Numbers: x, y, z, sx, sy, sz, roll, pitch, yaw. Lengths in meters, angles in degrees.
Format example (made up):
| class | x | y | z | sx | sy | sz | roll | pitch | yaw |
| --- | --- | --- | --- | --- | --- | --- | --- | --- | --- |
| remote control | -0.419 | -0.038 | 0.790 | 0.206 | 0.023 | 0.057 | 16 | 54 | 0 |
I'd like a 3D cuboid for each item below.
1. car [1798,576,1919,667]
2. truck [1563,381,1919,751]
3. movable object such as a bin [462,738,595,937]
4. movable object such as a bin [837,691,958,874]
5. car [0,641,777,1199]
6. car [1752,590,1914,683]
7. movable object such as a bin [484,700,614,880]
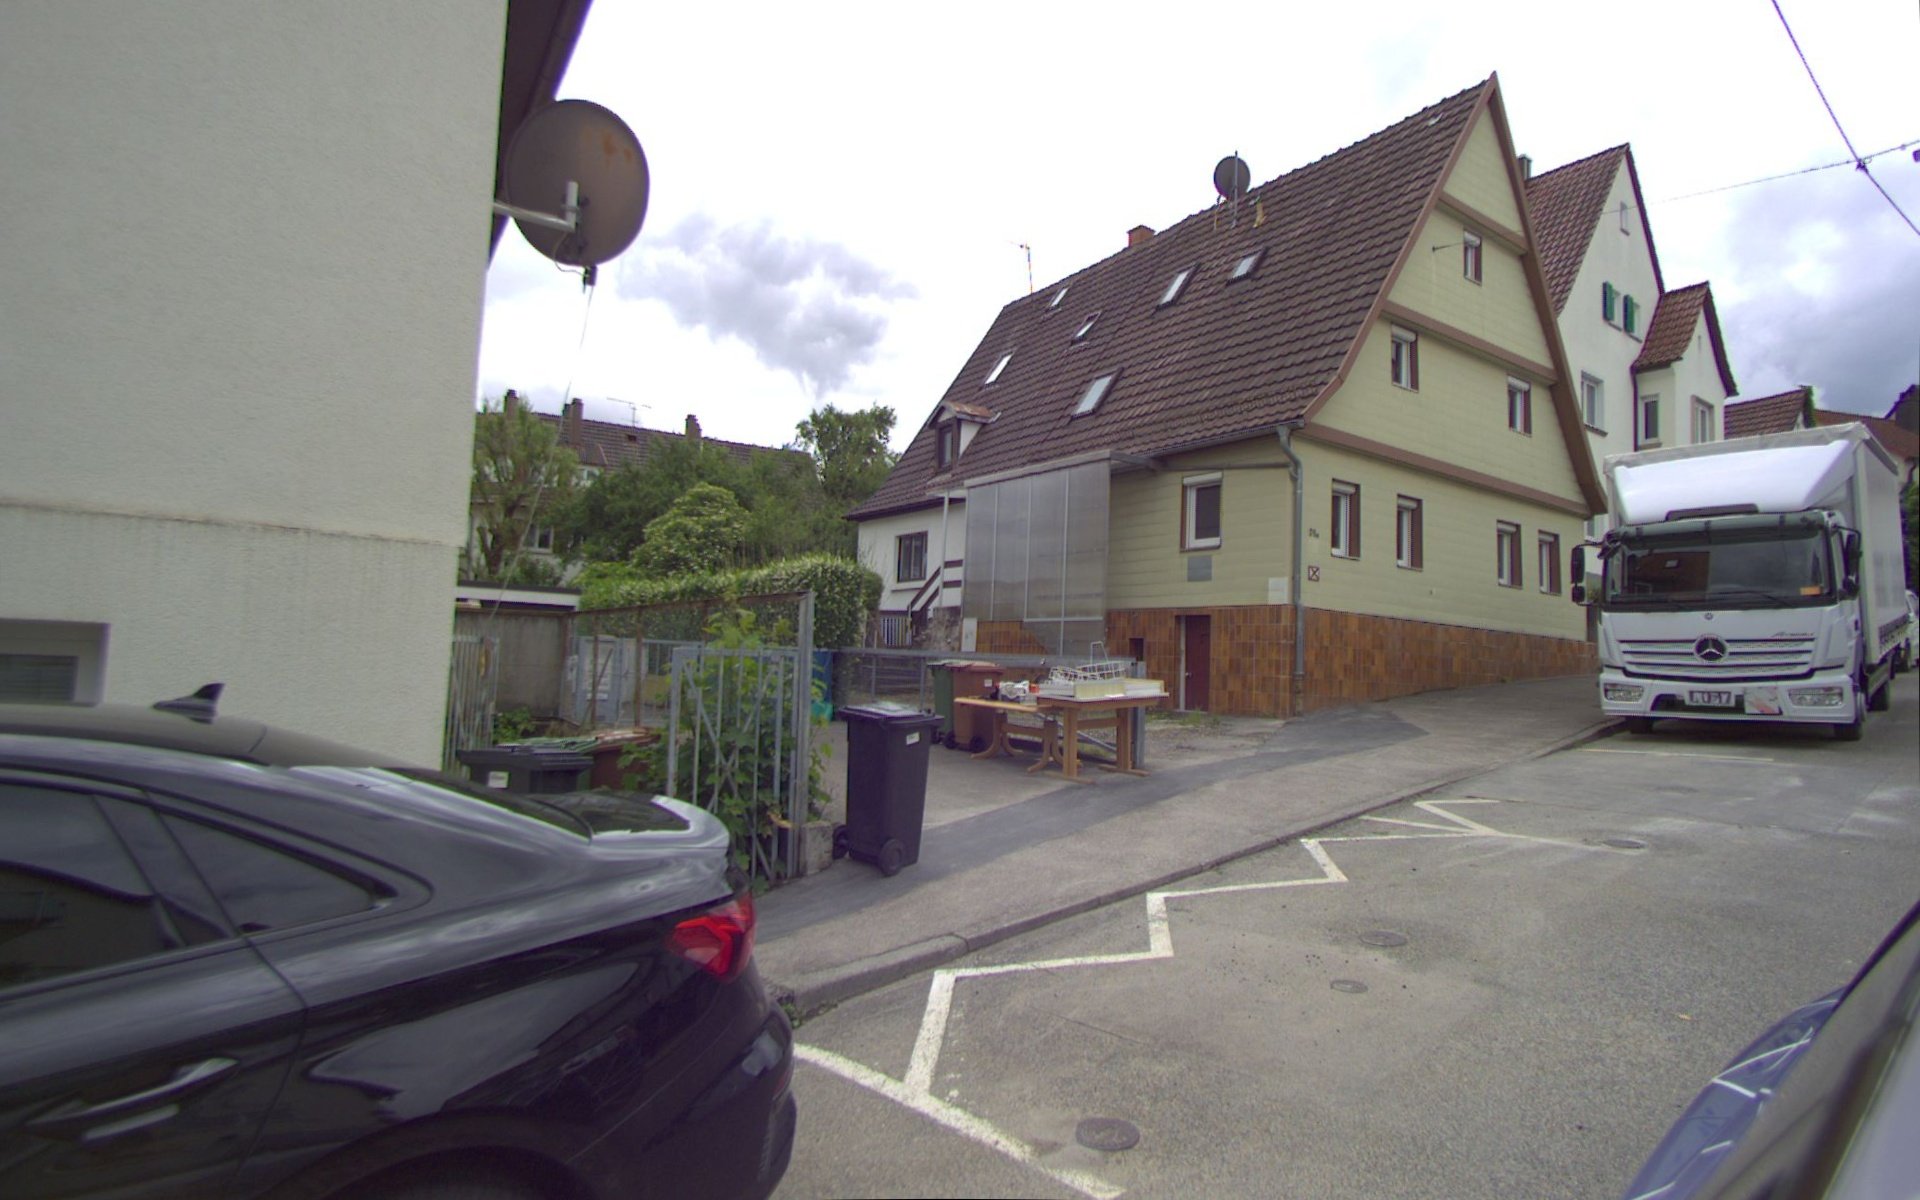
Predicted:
| class | x | y | z | sx | sy | sz | roll | pitch | yaw |
| --- | --- | --- | --- | --- | --- | --- | --- | --- | --- |
| car | 20.564 | 0.476 | 22.678 | 4.226 | 1.838 | 1.838 | 0 | -3 | -39 |
| truck | 10.944 | -0.304 | 13.710 | 7.971 | 3.644 | 2.677 | 0 | -2 | -44 |
| movable object such as a bin | -2.120 | 1.147 | 5.001 | 0.427 | 0.877 | 0.451 | 0 | -2 | 7 |
| movable object such as a bin | -0.367 | 1.039 | 5.940 | 0.533 | 0.928 | 0.465 | 0 | 2 | -41 |
| car | -2.394 | 0.856 | 1.231 | 3.981 | 1.427 | 1.676 | 0 | -3 | -41 |
| car | 16.290 | 0.640 | 18.826 | 3.982 | 1.526 | 1.734 | -1 | -3 | -42 |
| movable object such as a bin | -2.357 | 1.066 | 5.831 | 0.475 | 0.899 | 0.537 | 1 | 1 | 15 |
